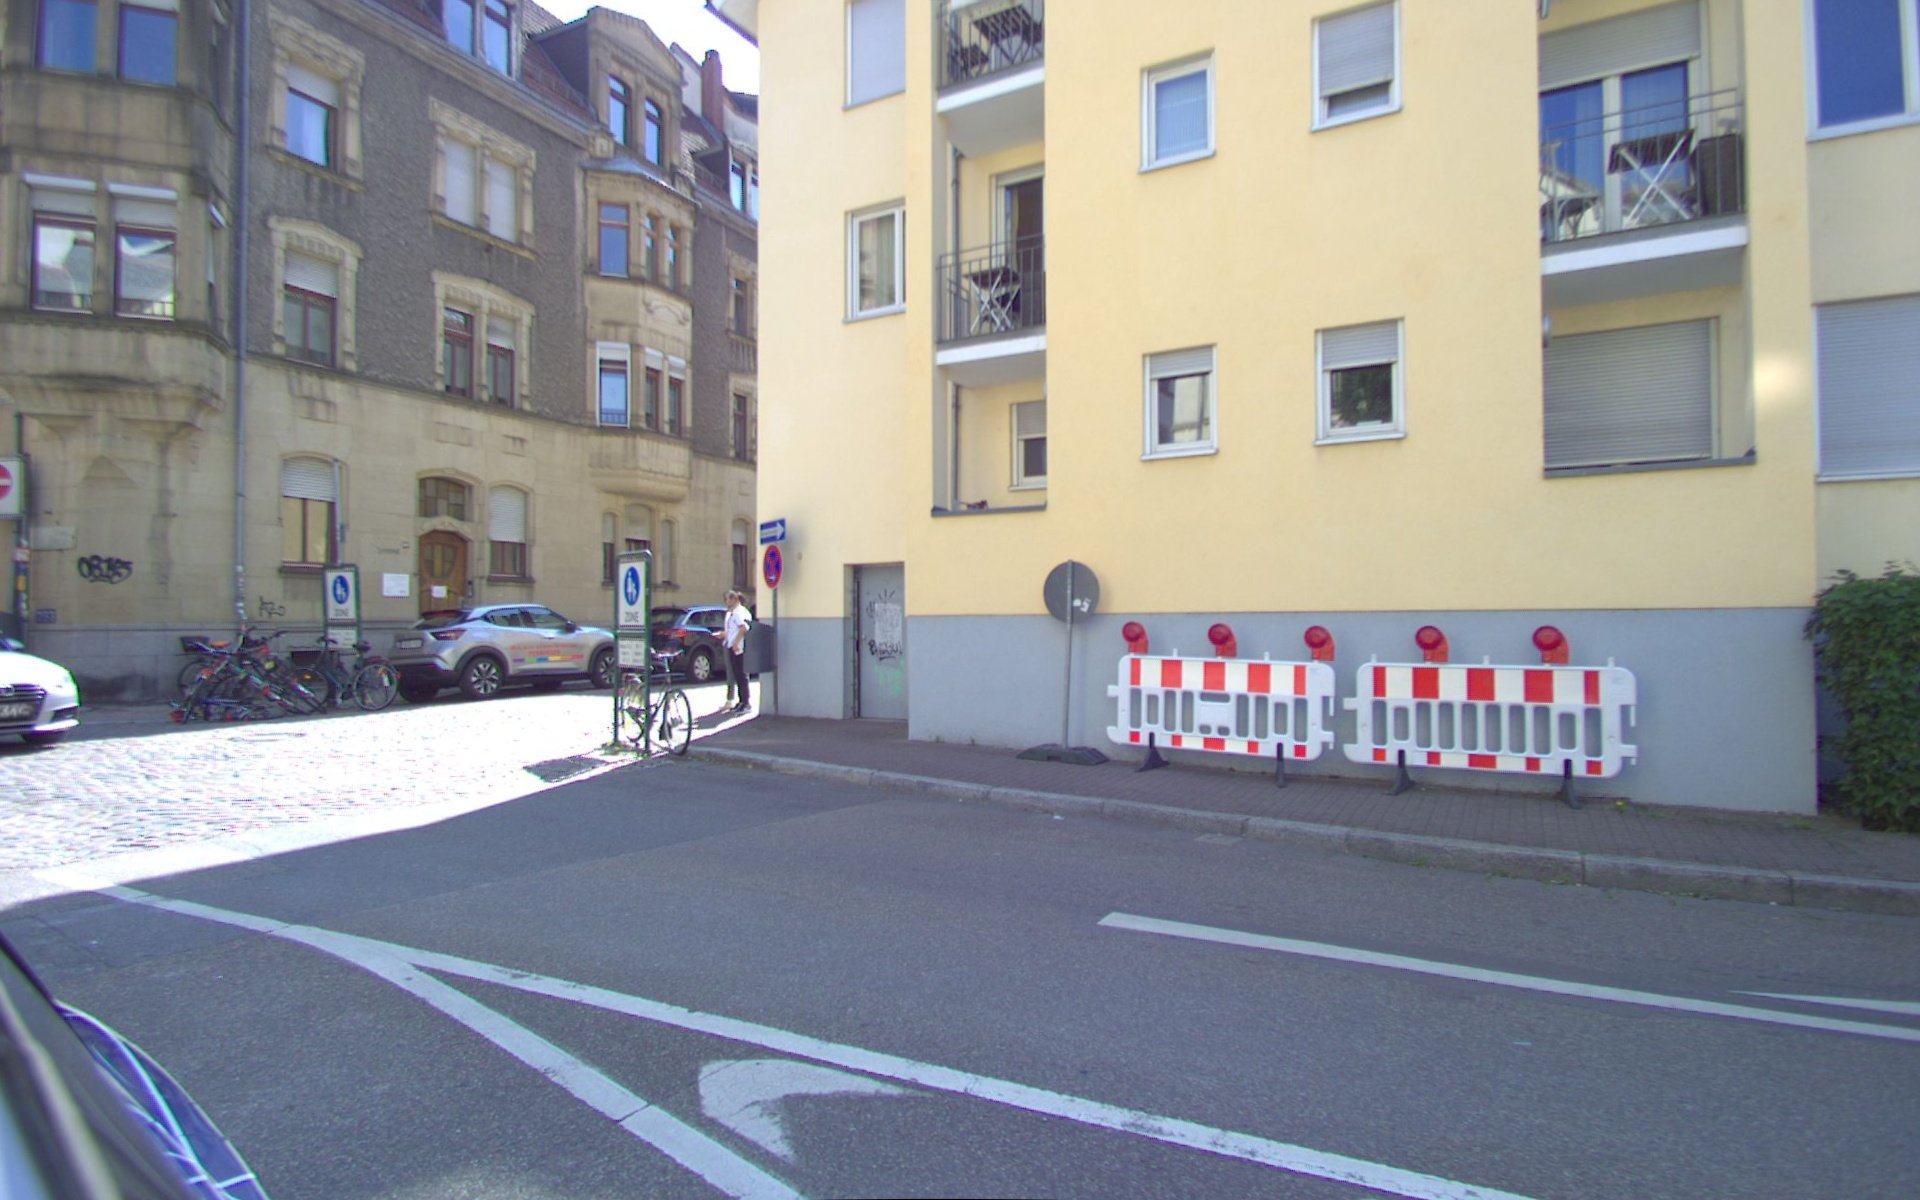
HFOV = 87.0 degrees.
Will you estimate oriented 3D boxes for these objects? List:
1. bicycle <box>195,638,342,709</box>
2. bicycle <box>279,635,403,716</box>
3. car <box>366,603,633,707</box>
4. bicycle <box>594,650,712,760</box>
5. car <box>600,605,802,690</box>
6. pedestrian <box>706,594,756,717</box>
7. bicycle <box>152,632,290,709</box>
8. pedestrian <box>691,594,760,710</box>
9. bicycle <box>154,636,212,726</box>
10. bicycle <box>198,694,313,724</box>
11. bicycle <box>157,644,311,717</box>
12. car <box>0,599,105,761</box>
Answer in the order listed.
[{"bbox_3d":[-9.829,1.046,14.405,1.628,1.082,0.287,0,43,17],"label":"bicycle"},{"bbox_3d":[-8.940,1.084,14.624,1.619,1.094,0.286,-2,-3,0],"label":"bicycle"},{"bbox_3d":[-7.725,0.880,17.360,1.843,1.556,3.892,-1,-2,27],"label":"car"},{"bbox_3d":[-3.408,1.110,11.132,0.386,1.087,1.911,2,-2,-45],"label":"bicycle"},{"bbox_3d":[-5.226,0.918,20.916,1.844,1.556,3.962,-2,-1,28],"label":"car"},{"bbox_3d":[-3.135,0.744,13.871,0.486,1.630,0.656,0,-1,5],"label":"pedestrian"},{"bbox_3d":[-11.311,1.052,15.546,0.494,1.094,1.627,4,0,27],"label":"bicycle"},{"bbox_3d":[-3.399,0.737,14.713,0.685,1.630,0.752,-1,-2,18],"label":"pedestrian"},{"bbox_3d":[-10.287,1.041,13.373,1.642,1.094,0.282,-1,1,42],"label":"bicycle"},{"bbox_3d":[-9.608,1.475,13.795,1.123,0.290,1.063,-1,-2,42],"label":"bicycle"},{"bbox_3d":[-9.981,1.106,13.934,1.628,1.082,0.287,0,43,17],"label":"bicycle"},{"bbox_3d":[-10.950,0.763,10.201,4.356,1.504,1.862,-1,-1,24],"label":"car"}]
